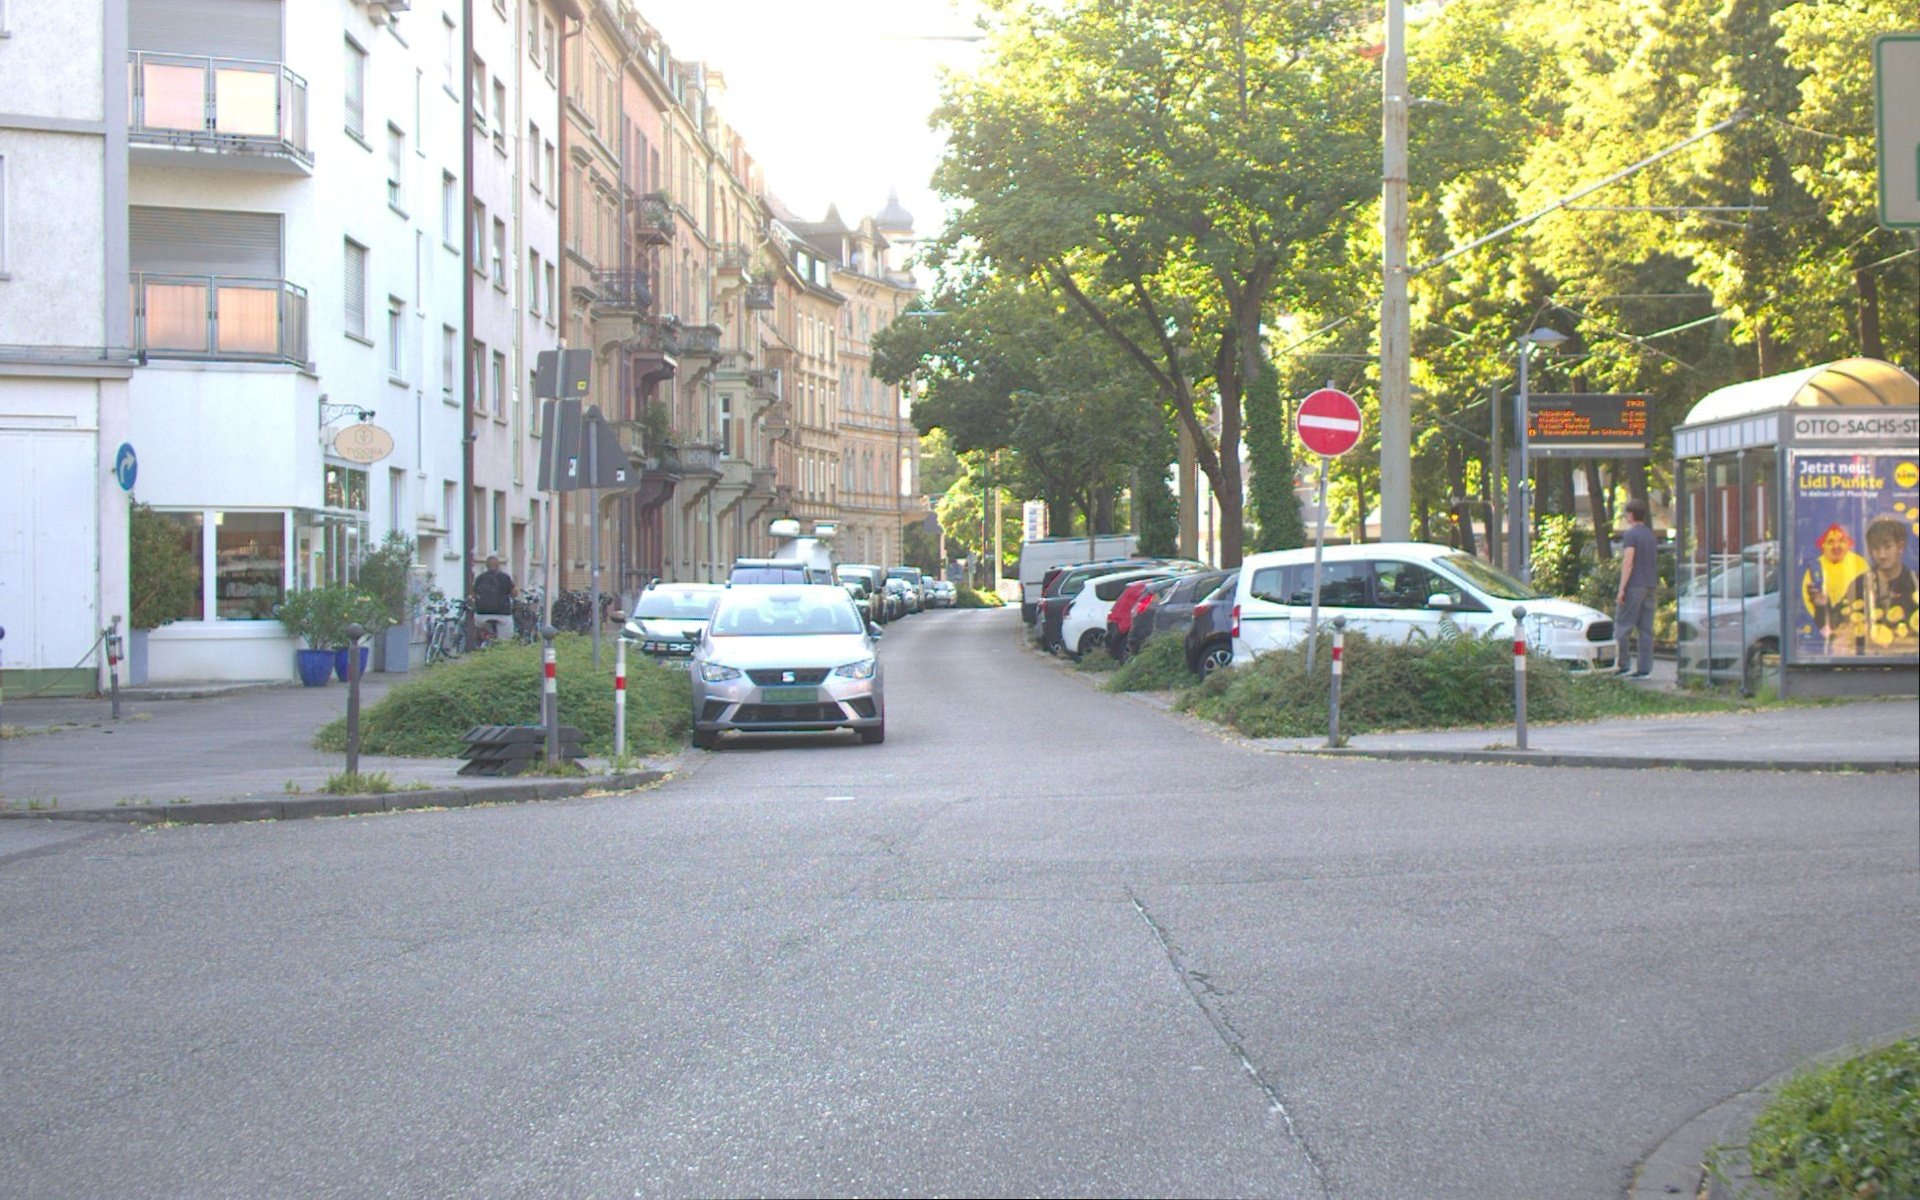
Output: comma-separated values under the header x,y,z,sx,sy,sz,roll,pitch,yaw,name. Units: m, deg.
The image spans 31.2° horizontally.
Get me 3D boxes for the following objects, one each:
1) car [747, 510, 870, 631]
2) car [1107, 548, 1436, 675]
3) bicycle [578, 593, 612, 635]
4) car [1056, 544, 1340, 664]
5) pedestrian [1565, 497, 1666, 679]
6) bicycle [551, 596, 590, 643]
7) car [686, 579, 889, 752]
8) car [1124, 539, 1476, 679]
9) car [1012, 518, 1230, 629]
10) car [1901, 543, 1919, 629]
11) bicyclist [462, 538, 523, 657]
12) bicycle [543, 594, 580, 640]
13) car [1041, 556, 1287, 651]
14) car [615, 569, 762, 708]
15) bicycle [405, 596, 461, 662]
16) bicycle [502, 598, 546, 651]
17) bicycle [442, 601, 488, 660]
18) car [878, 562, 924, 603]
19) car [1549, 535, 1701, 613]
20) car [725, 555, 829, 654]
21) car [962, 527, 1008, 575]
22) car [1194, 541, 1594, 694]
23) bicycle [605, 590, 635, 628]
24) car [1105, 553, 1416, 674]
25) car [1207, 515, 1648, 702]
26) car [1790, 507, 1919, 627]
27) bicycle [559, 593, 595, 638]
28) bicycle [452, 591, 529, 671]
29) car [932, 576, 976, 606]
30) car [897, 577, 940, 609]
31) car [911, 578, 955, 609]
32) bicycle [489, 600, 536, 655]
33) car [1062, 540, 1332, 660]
x,y,z,sx,sy,sz,roll,pitch,yaw,name
-3.750,-0.756,86.138,2.552,2.877,5.481,-2,1,2,car
4.387,0.169,48.468,4.232,1.454,1.606,-4,0,24,car
-8.902,0.341,83.961,0.626,1.000,2.176,0,1,-1,bicycle
3.914,0.069,56.764,4.236,1.645,1.854,-4,0,36,car
6.975,-0.131,36.560,0.849,1.904,0.837,-1,0,25,pedestrian
-8.538,0.419,75.372,0.626,1.000,2.176,0,1,-1,bicycle
-1.661,0.555,31.980,1.710,1.441,4.001,-2,1,-5,car
4.477,0.119,45.301,4.232,1.503,1.606,-4,0,24,car
4.333,-0.719,92.730,5.259,2.563,2.270,-4,0,28,car
19.727,-0.179,64.533,3.821,1.582,1.736,2,0,19,car
-6.376,-0.035,46.925,0.712,1.611,0.723,-1,0,0,bicyclist
-9.081,0.381,78.356,0.626,1.000,2.176,0,1,-1,bicycle
3.913,0.065,65.938,4.233,1.468,1.855,-4,0,28,car
-3.482,0.458,44.605,1.710,1.667,4.000,-2,1,-2,car
-8.325,0.447,54.391,0.531,1.000,2.176,0,1,0,bicycle
-8.682,0.478,68.493,0.626,1.000,2.176,0,1,-1,bicycle
-8.765,0.528,60.983,0.531,1.000,2.176,0,1,-1,bicycle
-2.678,-0.804,157.109,1.711,1.814,4.000,-2,1,4,car
20.223,-0.792,104.607,4.086,2.202,1.816,2,0,31,car
-3.738,0.071,70.743,1.711,1.926,4.000,-2,1,2,car
1.396,-2.672,187.196,1.711,2.553,5.565,-2,1,8,car
5.025,0.208,39.853,4.197,1.432,1.699,-4,0,25,car
-9.247,0.251,93.535,0.626,1.000,2.176,0,1,-1,bicycle
4.478,0.204,51.291,4.232,1.454,1.606,-4,0,24,car
4.932,0.098,36.441,4.234,1.647,1.605,-4,0,31,car
20.336,-0.672,73.745,4.493,2.468,1.816,2,0,31,car
-8.993,0.358,80.753,0.626,1.000,2.176,0,1,-1,bicycle
-6.370,0.407,46.749,0.712,1.047,2.347,-1,1,0,bicycle
-0.298,-0.455,177.394,1.711,1.441,3.999,-2,1,8,car
-2.019,-0.355,167.112,1.711,1.441,4.000,-2,1,4,car
-1.363,-0.350,172.502,1.711,1.441,3.999,-2,1,6,car
-8.443,0.505,64.956,0.626,1.000,2.176,0,1,-1,bicycle
4.094,0.011,59.716,4.236,1.743,1.854,-4,0,36,car
